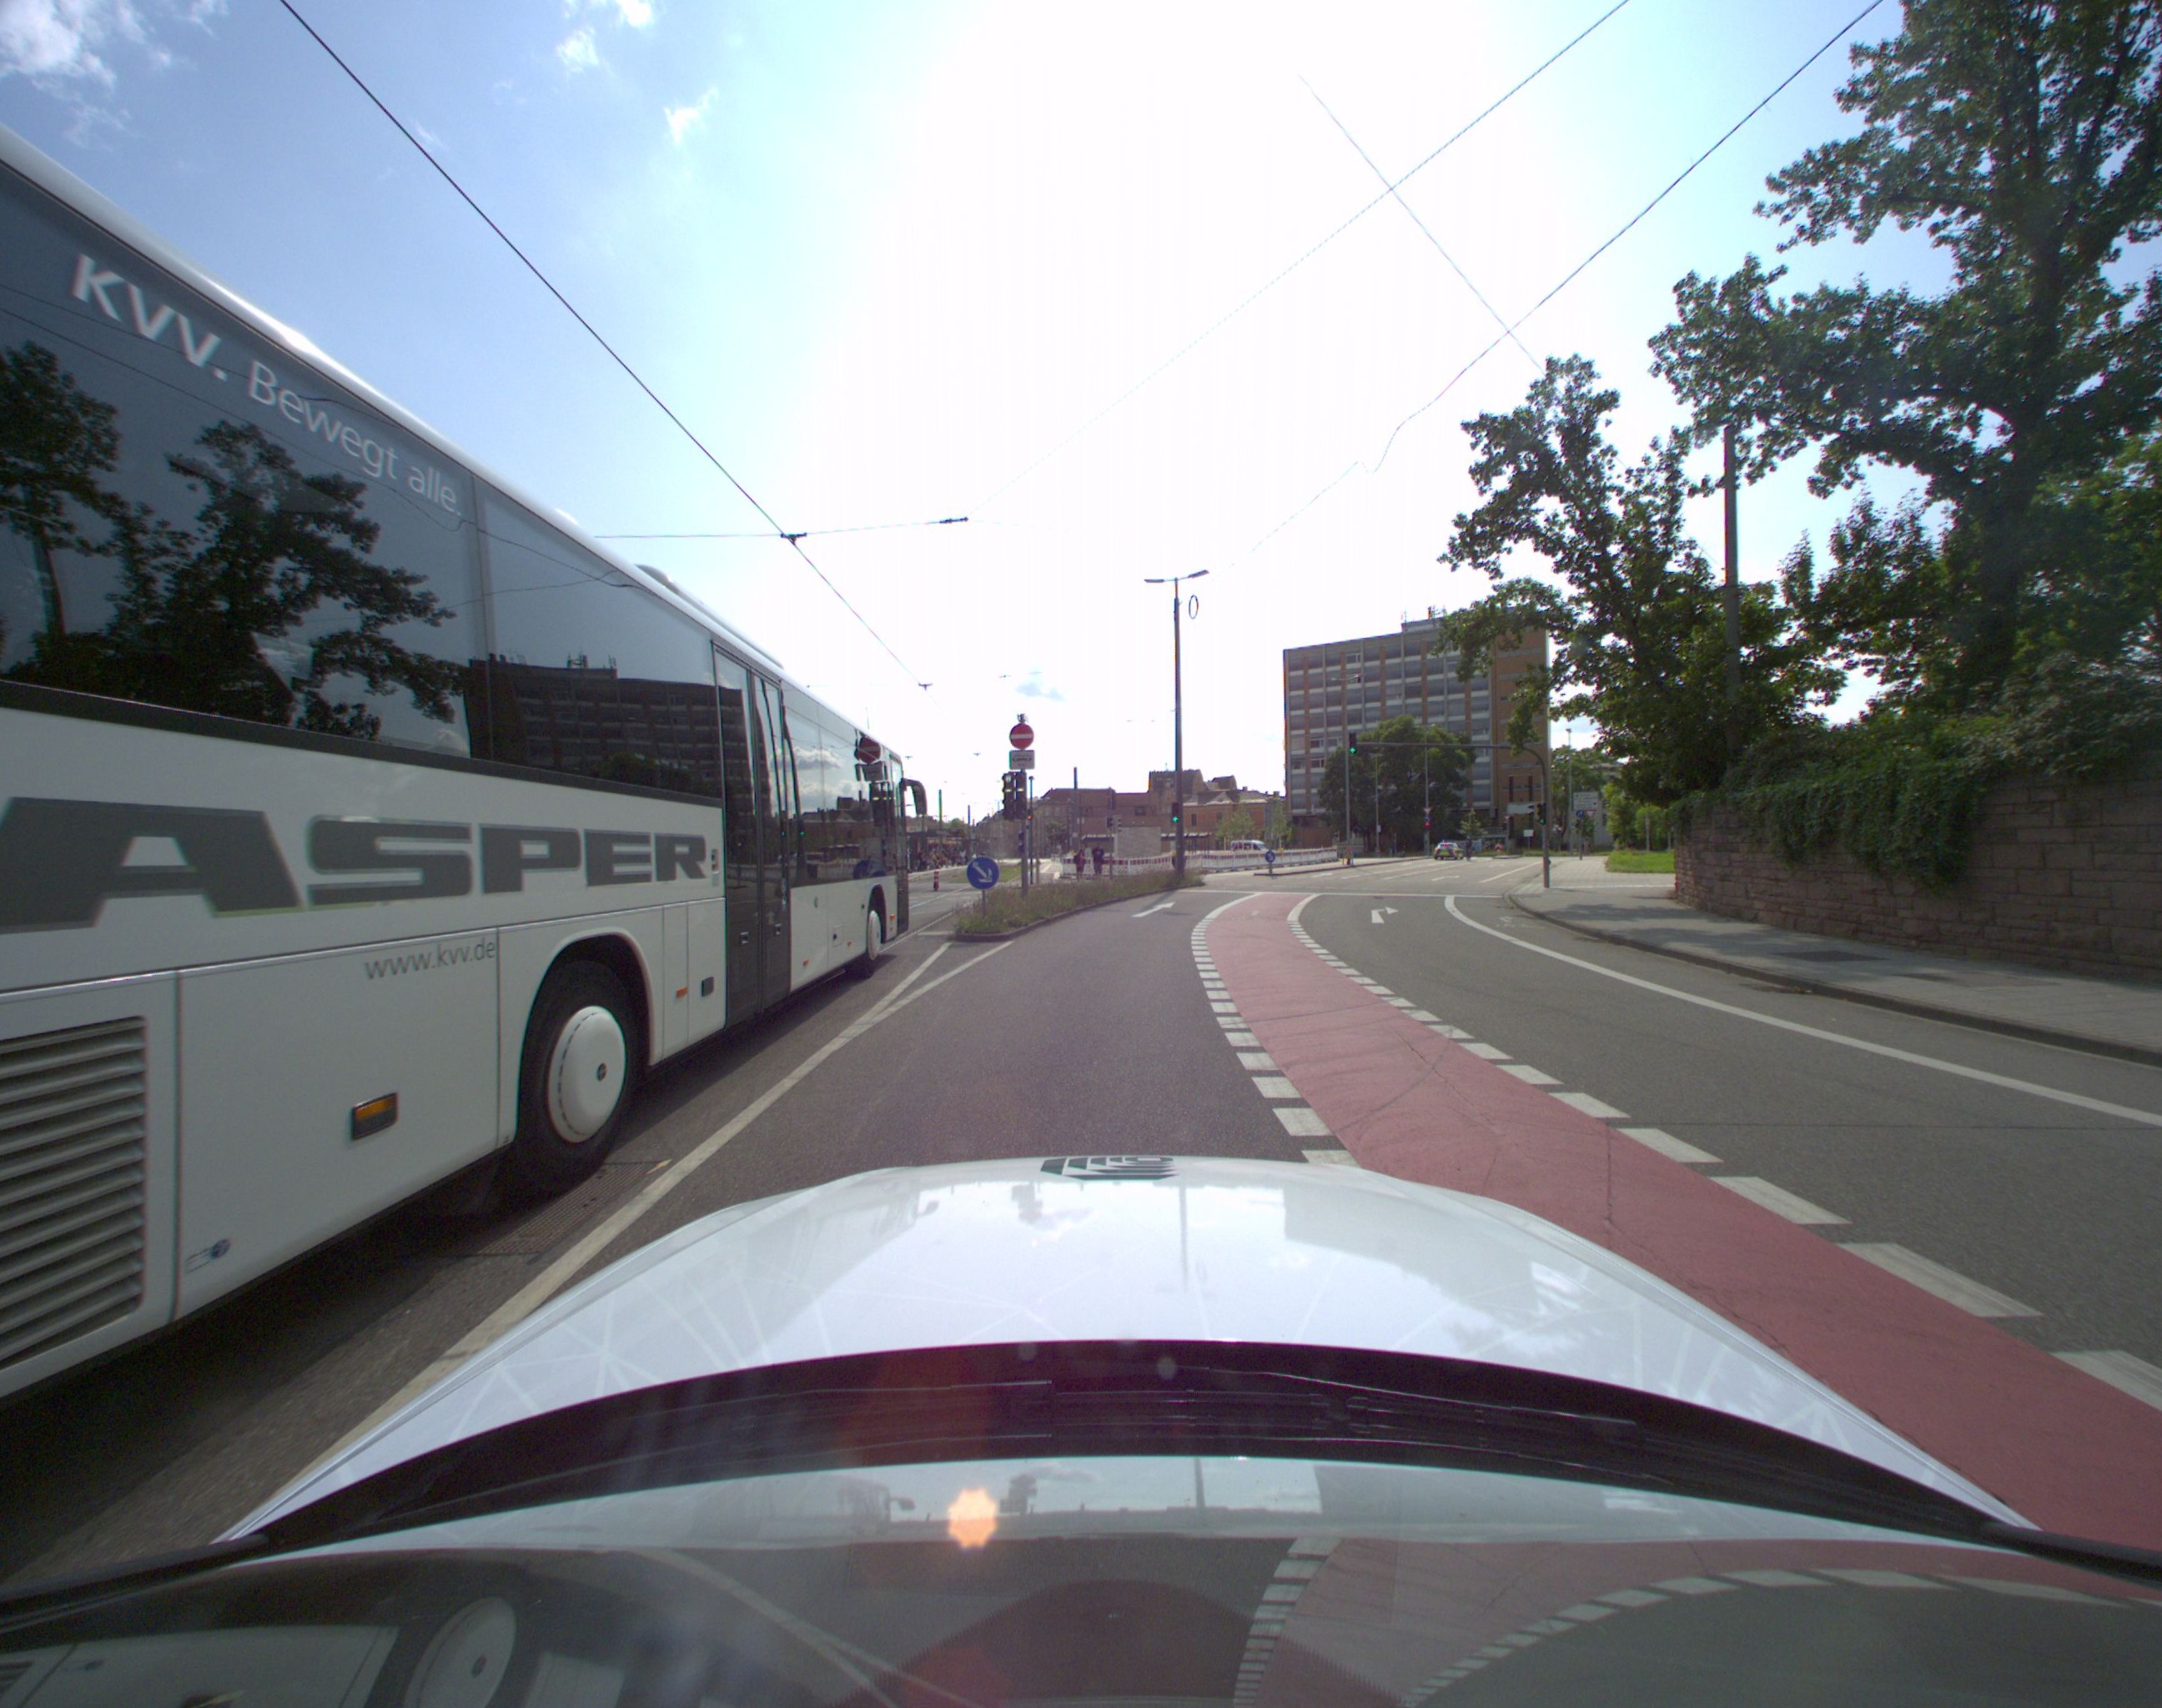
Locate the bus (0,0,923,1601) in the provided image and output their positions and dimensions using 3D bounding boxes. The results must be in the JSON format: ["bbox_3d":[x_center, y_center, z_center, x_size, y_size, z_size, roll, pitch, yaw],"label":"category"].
[{"bbox_3d":[-3.684,-0.215,6.465,2.910,3.328,12.195,0,0,-2],"label":"bus"}]

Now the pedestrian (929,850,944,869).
[{"bbox_3d":[-11.089,0.414,62.518,0.937,1.431,0.731,0,-1,0],"label":"pedestrian"}]

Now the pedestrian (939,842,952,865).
[{"bbox_3d":[-12.070,-0.012,72.621,0.946,2.014,0.724,0,-1,-27],"label":"pedestrian"}]

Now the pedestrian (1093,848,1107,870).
[{"bbox_3d":[1.540,0.379,66.270,0.932,1.790,1.176,0,-1,-6],"label":"pedestrian"}]

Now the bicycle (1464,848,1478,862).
[{"bbox_3d":[31.357,0.066,65.425,0.714,1.084,2.205,-2,1,33],"label":"bicycle"}]

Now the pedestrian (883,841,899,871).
[{"bbox_3d":[-13.015,0.124,55.725,0.937,2.014,0.731,0,-1,0],"label":"pedestrian"}]

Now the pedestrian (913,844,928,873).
[{"bbox_3d":[-11.274,0.318,57.286,0.937,2.014,0.731,0,-1,0],"label":"pedestrian"}]

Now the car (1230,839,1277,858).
[{"bbox_3d":[21.324,-0.665,100.708,2.313,2.319,5.525,-1,-1,-38],"label":"car"}]

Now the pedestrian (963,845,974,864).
[{"bbox_3d":[-12.069,0.087,87.395,0.946,2.014,0.724,0,-1,-27],"label":"pedestrian"}]

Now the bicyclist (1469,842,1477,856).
[{"bbox_3d":[42.897,-0.585,89.129,0.829,1.470,0.640,-2,0,25],"label":"bicyclist"}]

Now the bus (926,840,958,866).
[{"bbox_3d":[-16.865,-0.140,99.413,2.416,2.982,10.535,-1,0,-2],"label":"bus"}]

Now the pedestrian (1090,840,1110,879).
[{"bbox_3d":[0.952,0.273,40.279,0.793,1.885,0.609,-1,0,-17],"label":"pedestrian"}]

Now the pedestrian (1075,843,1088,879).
[{"bbox_3d":[0.020,0.333,39.860,0.405,1.736,0.624,-1,0,18],"label":"pedestrian"}]

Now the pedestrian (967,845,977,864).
[{"bbox_3d":[-11.853,0.093,88.349,0.946,2.014,0.724,0,-1,-27],"label":"pedestrian"}]

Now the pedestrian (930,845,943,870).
[{"bbox_3d":[-11.785,0.294,66.423,0.937,2.014,0.731,0,-1,0],"label":"pedestrian"}]

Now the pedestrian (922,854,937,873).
[{"bbox_3d":[-11.313,0.719,60.813,0.937,1.431,0.731,0,-1,0],"label":"pedestrian"}]

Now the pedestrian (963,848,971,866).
[{"bbox_3d":[-12.783,0.344,91.286,0.941,2.014,0.728,0,-1,-13],"label":"pedestrian"}]

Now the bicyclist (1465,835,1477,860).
[{"bbox_3d":[31.425,-0.514,65.548,0.711,1.973,0.845,-2,0,33],"label":"bicyclist"}]

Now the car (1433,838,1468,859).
[{"bbox_3d":[31.535,-0.484,69.532,2.109,1.684,4.128,1,1,33],"label":"car"}]

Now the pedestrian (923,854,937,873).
[{"bbox_3d":[-11.435,0.725,61.666,0.937,1.431,0.731,0,-1,0],"label":"pedestrian"}]

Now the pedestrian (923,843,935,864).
[{"bbox_3d":[-14.597,-0.017,78.193,0.947,2.014,0.724,0,-1,-31],"label":"pedestrian"}]

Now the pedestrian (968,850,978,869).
[{"bbox_3d":[-11.957,0.600,90.177,0.941,2.014,0.728,0,-1,-13],"label":"pedestrian"}]

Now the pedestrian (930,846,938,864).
[{"bbox_3d":[-16.264,0.111,89.927,0.731,2.014,0.937,0,-1,-21],"label":"pedestrian"}]

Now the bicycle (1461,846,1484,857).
[{"bbox_3d":[42.854,-0.279,89.153,2.163,1.084,0.640,-2,1,25],"label":"bicycle"}]

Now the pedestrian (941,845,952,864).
[{"bbox_3d":[-13.916,0.069,84.137,0.946,2.014,0.724,0,-1,-27],"label":"pedestrian"}]

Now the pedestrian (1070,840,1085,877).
[{"bbox_3d":[-0.149,0.217,38.723,0.608,1.706,0.624,-1,0,5],"label":"pedestrian"}]

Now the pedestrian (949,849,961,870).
[{"bbox_3d":[-12.006,0.491,77.815,0.947,2.014,0.724,0,-1,-31],"label":"pedestrian"}]

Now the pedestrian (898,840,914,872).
[{"bbox_3d":[-11.012,0.145,51.145,0.812,2.014,0.799,0,-1,0],"label":"pedestrian"}]
